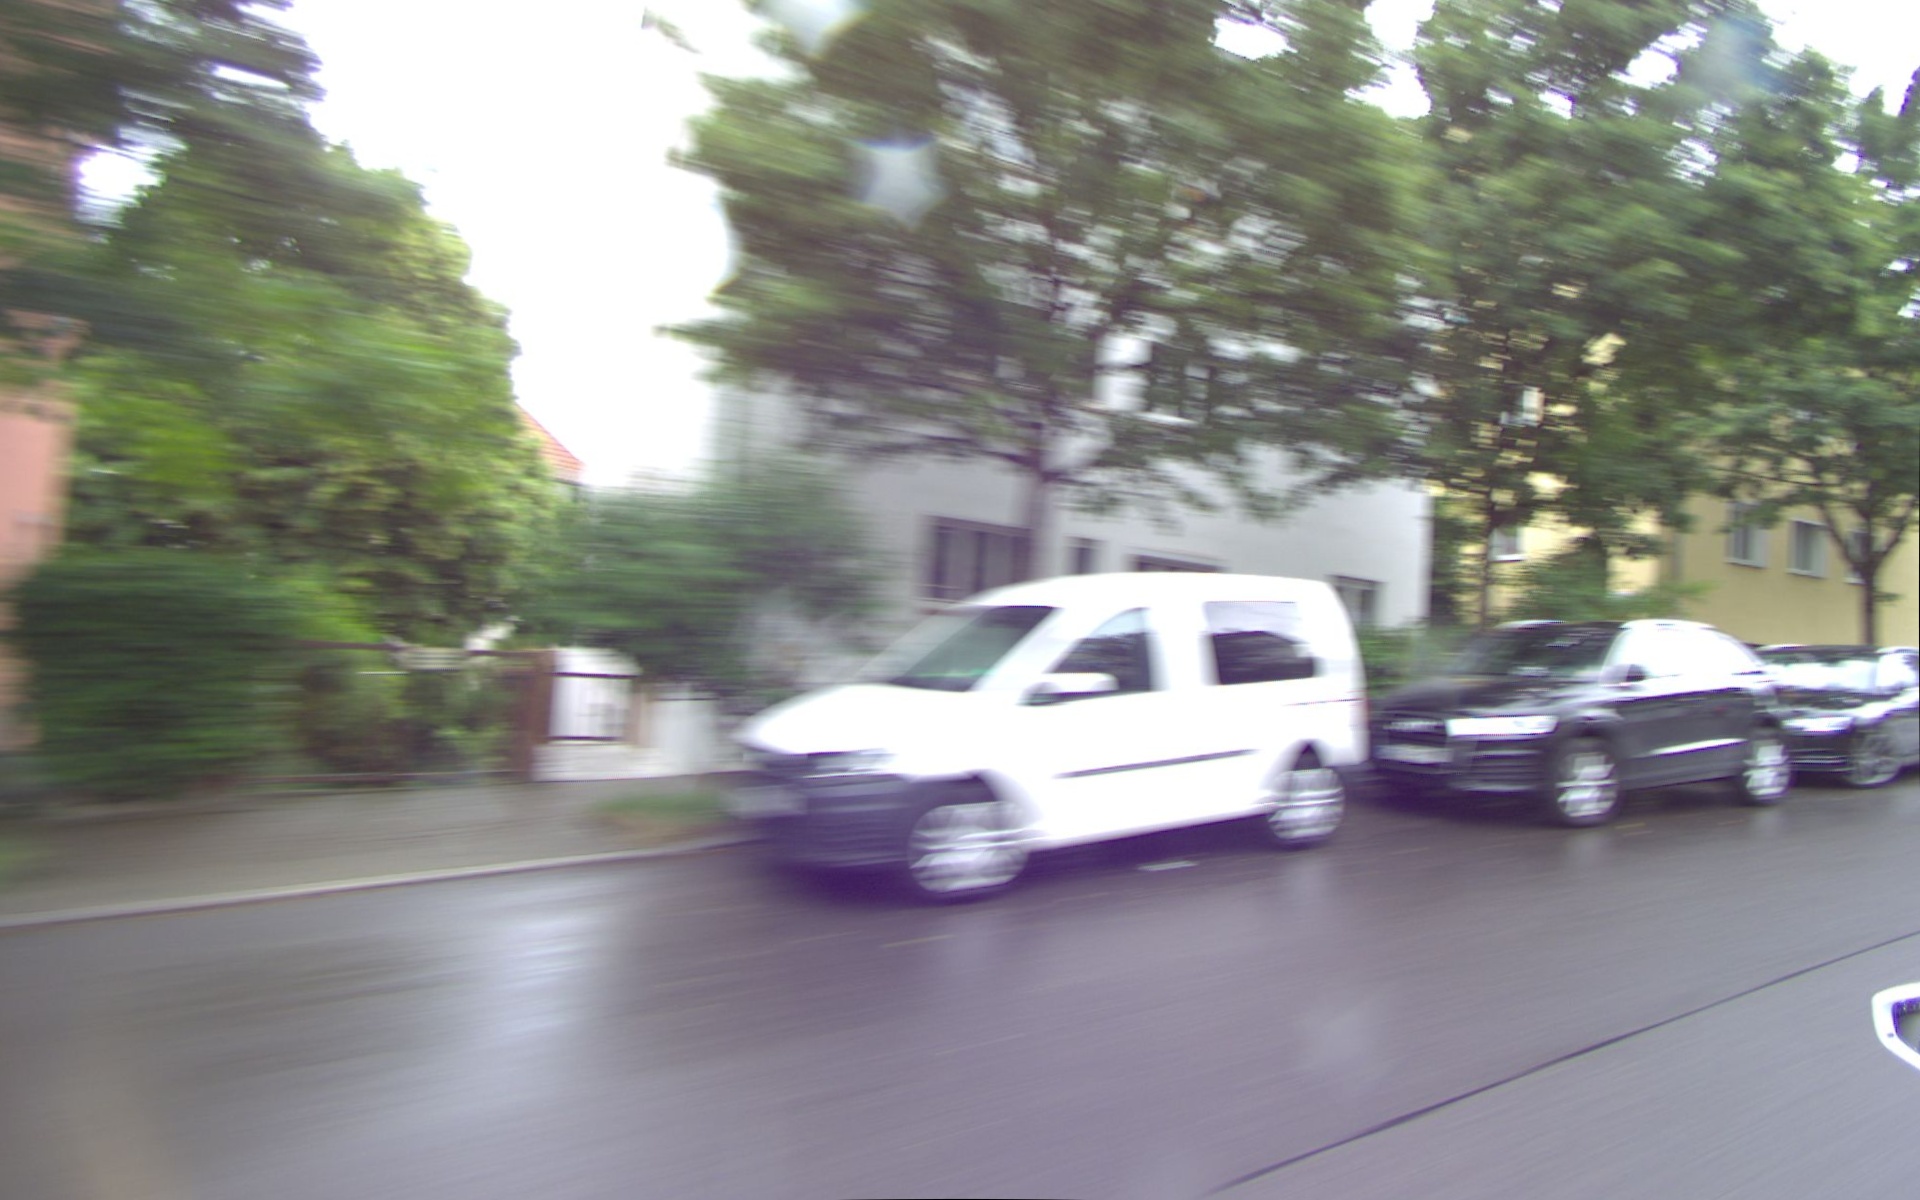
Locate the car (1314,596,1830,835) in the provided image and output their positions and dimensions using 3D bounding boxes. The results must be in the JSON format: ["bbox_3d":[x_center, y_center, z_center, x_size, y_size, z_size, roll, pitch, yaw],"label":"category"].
[{"bbox_3d":[5.519,0.903,8.968,4.529,1.690,1.847,2,-2,-27],"label":"car"}]

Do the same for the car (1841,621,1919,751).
[{"bbox_3d":[14.742,1.199,14.023,4.488,1.712,1.851,2,-1,-22],"label":"car"}]

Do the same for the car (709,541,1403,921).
[{"bbox_3d":[0.780,0.712,6.733,4.432,1.800,1.844,2,-3,-32],"label":"car"}]

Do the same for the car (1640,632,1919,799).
[{"bbox_3d":[9.959,1.172,11.470,4.686,1.518,1.844,2,-1,-31],"label":"car"}]
